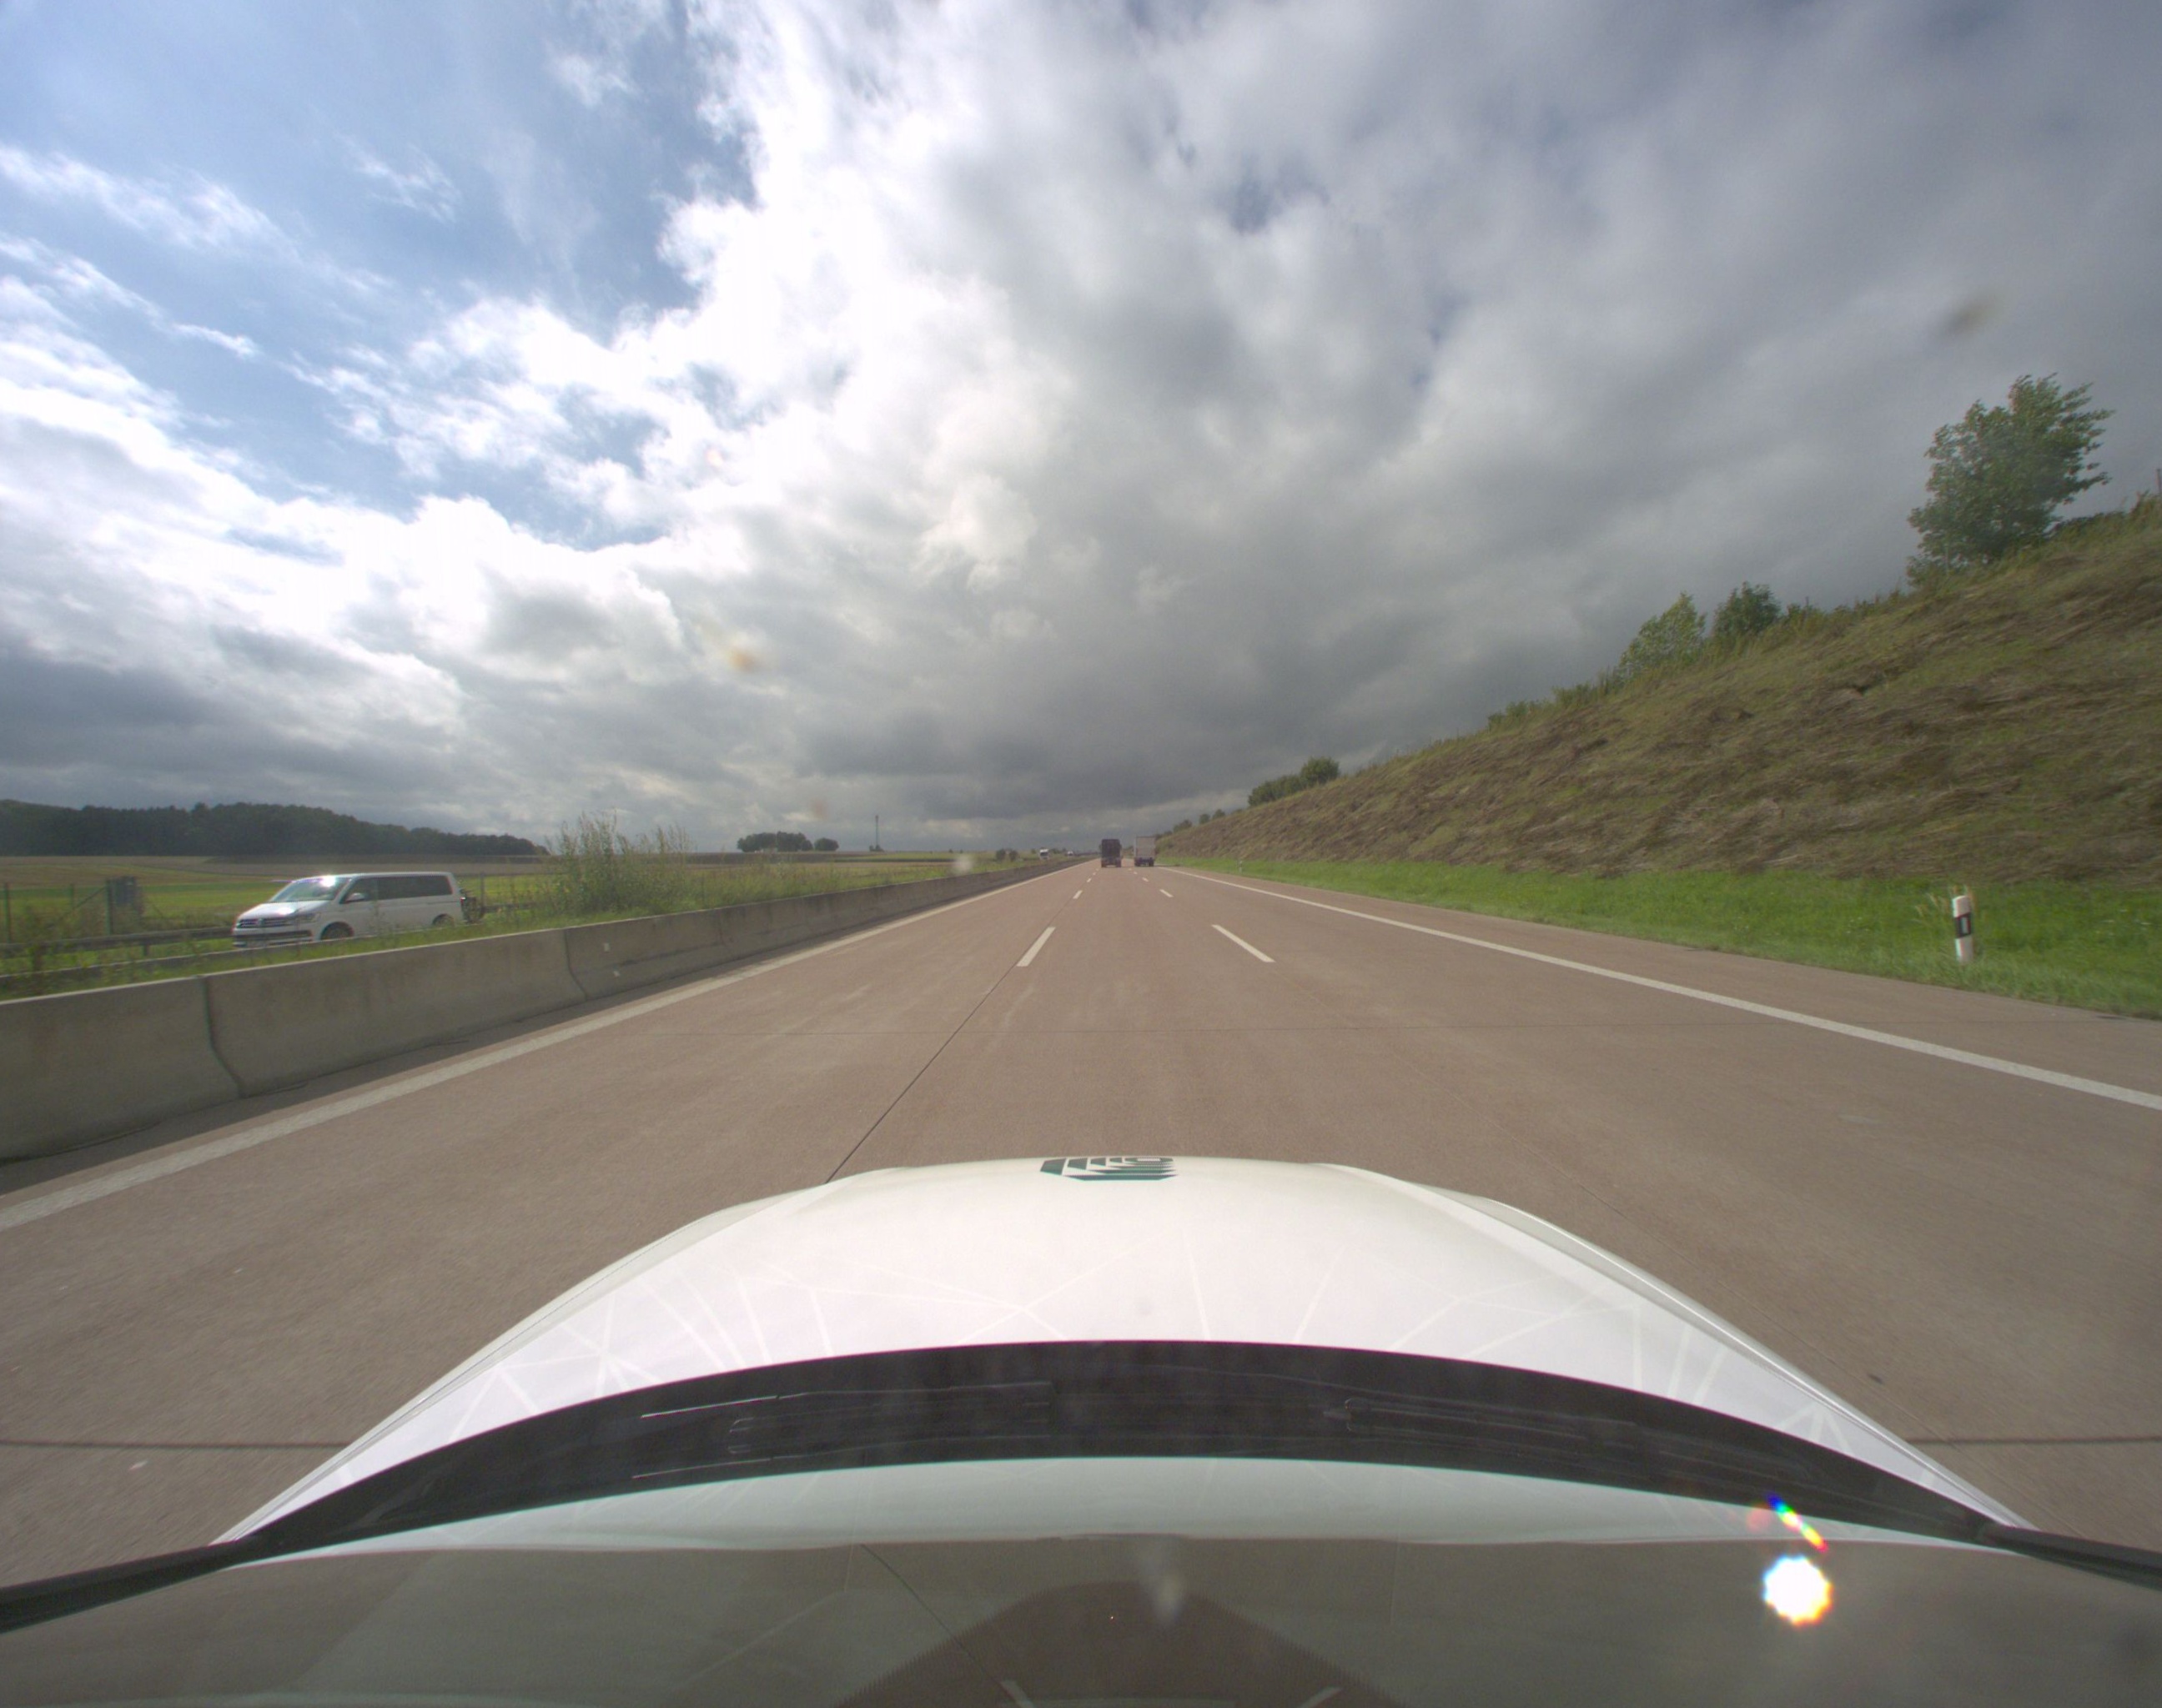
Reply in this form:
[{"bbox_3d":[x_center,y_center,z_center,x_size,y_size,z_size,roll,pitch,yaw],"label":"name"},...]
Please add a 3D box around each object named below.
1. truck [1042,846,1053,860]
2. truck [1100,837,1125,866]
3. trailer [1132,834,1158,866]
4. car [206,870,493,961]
[{"bbox_3d":[-9.938,-0.409,240.396,2.760,3.959,5.291,-2,0,1],"label":"truck"},{"bbox_3d":[3.966,-0.268,103.845,2.838,3.550,8.318,-1,-1,0],"label":"truck"},{"bbox_3d":[8.412,-0.460,108.320,2.739,4.012,8.669,-1,-1,0],"label":"trailer"},{"bbox_3d":[-18.350,1.425,20.987,2.051,1.846,5.730,-2,0,2],"label":"car"}]
